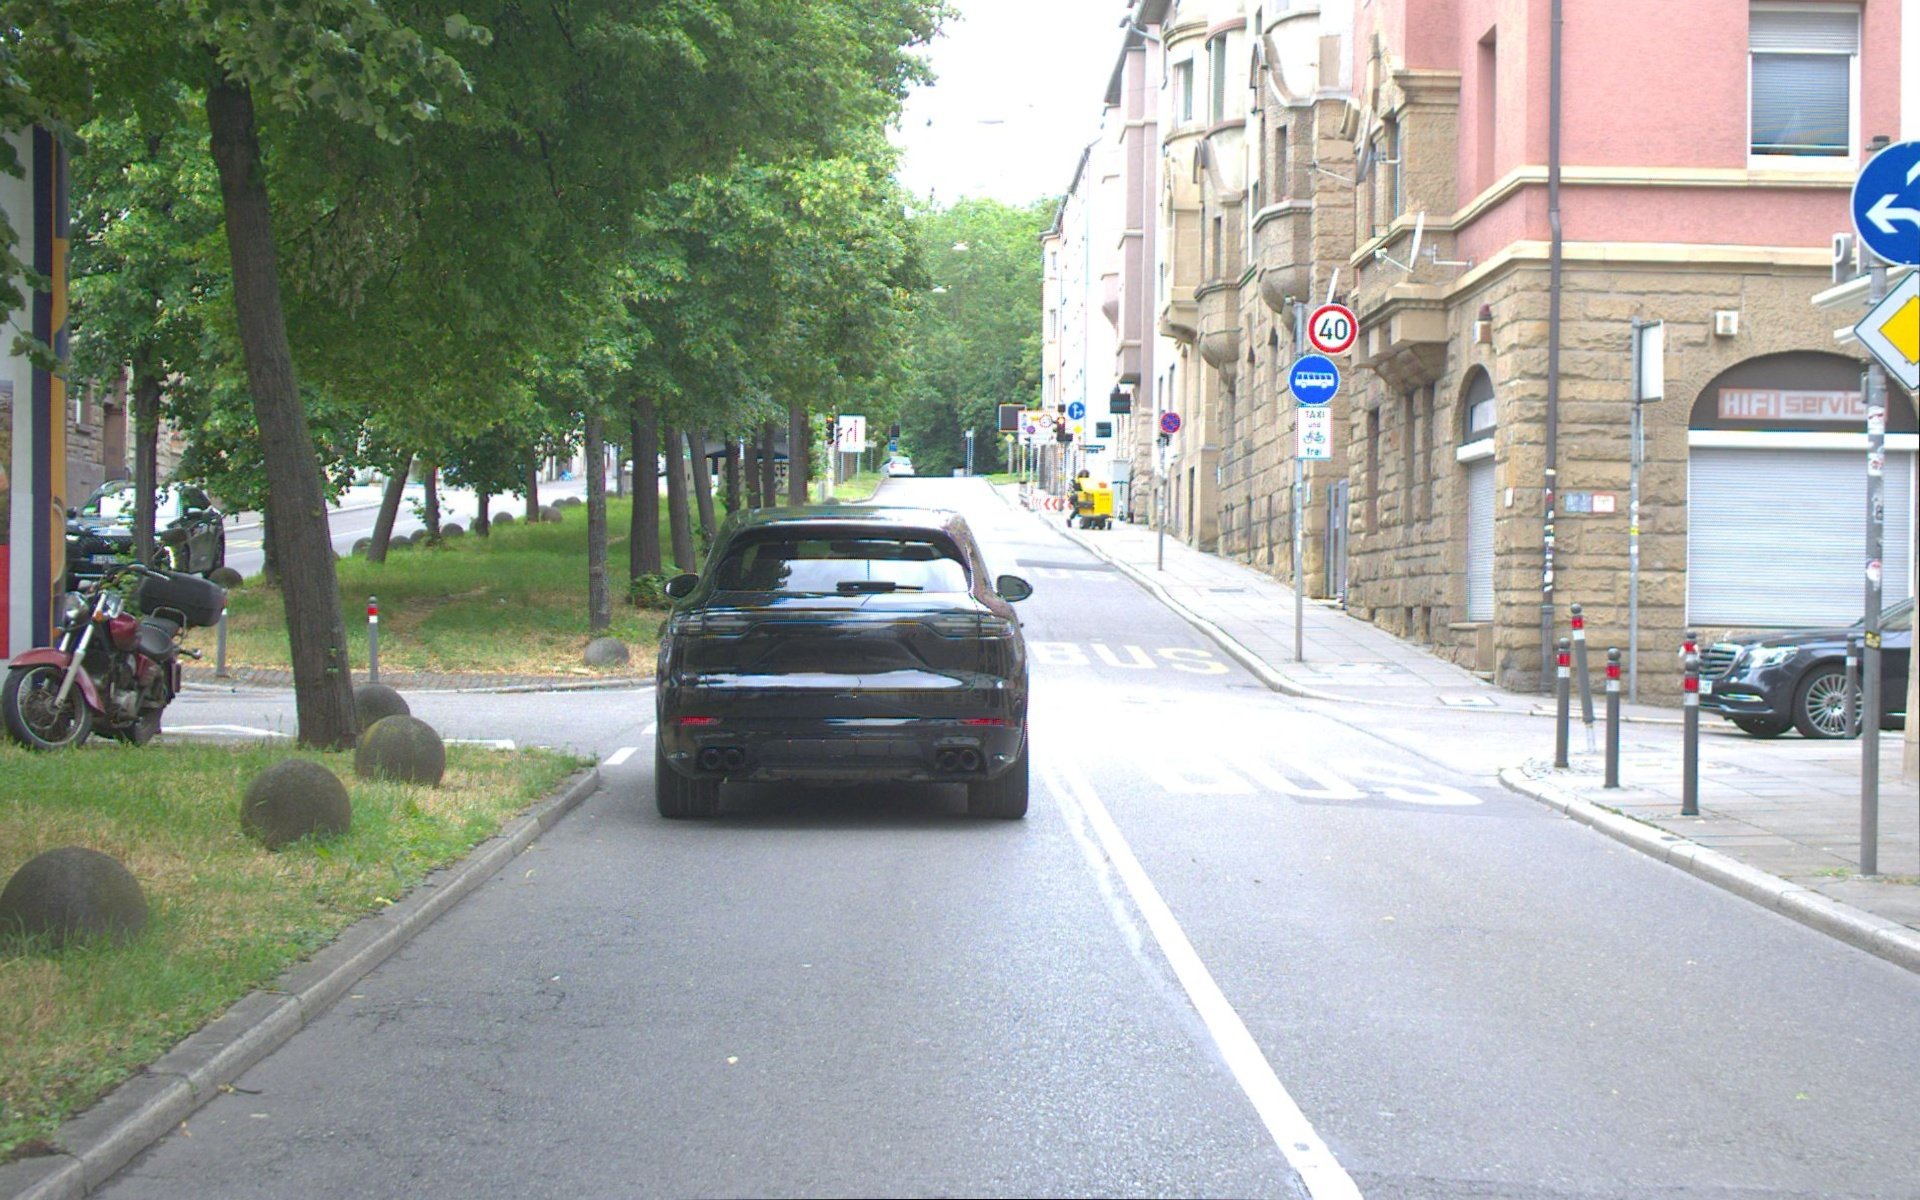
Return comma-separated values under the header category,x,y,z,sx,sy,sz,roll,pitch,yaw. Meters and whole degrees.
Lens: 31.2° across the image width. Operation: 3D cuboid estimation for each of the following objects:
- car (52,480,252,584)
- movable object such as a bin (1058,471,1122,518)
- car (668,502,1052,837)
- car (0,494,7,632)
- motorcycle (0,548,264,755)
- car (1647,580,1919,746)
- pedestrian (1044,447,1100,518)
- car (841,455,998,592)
category,x,y,z,sx,sy,sz,roll,pitch,yaw
car,-12.208,-1.049,52.243,1.993,1.478,4.532,1,2,0
movable object such as a bin,3.670,-2.979,97.137,1.236,1.270,1.847,1,1,-17
car,-0.582,0.309,19.395,1.903,1.660,4.136,1,1,-2
car,-12.278,-0.389,38.341,1.993,1.618,4.816,1,2,0
motorcycle,-4.949,0.272,20.590,1.062,1.144,2.448,0,1,0
car,8.430,0.528,30.781,3.986,1.371,2.001,0,1,-16
pedestrian,3.213,-3.370,98.515,1.300,2.007,1.020,1,1,-16
car,-0.534,-1.032,46.560,1.993,1.747,4.000,1,1,0
